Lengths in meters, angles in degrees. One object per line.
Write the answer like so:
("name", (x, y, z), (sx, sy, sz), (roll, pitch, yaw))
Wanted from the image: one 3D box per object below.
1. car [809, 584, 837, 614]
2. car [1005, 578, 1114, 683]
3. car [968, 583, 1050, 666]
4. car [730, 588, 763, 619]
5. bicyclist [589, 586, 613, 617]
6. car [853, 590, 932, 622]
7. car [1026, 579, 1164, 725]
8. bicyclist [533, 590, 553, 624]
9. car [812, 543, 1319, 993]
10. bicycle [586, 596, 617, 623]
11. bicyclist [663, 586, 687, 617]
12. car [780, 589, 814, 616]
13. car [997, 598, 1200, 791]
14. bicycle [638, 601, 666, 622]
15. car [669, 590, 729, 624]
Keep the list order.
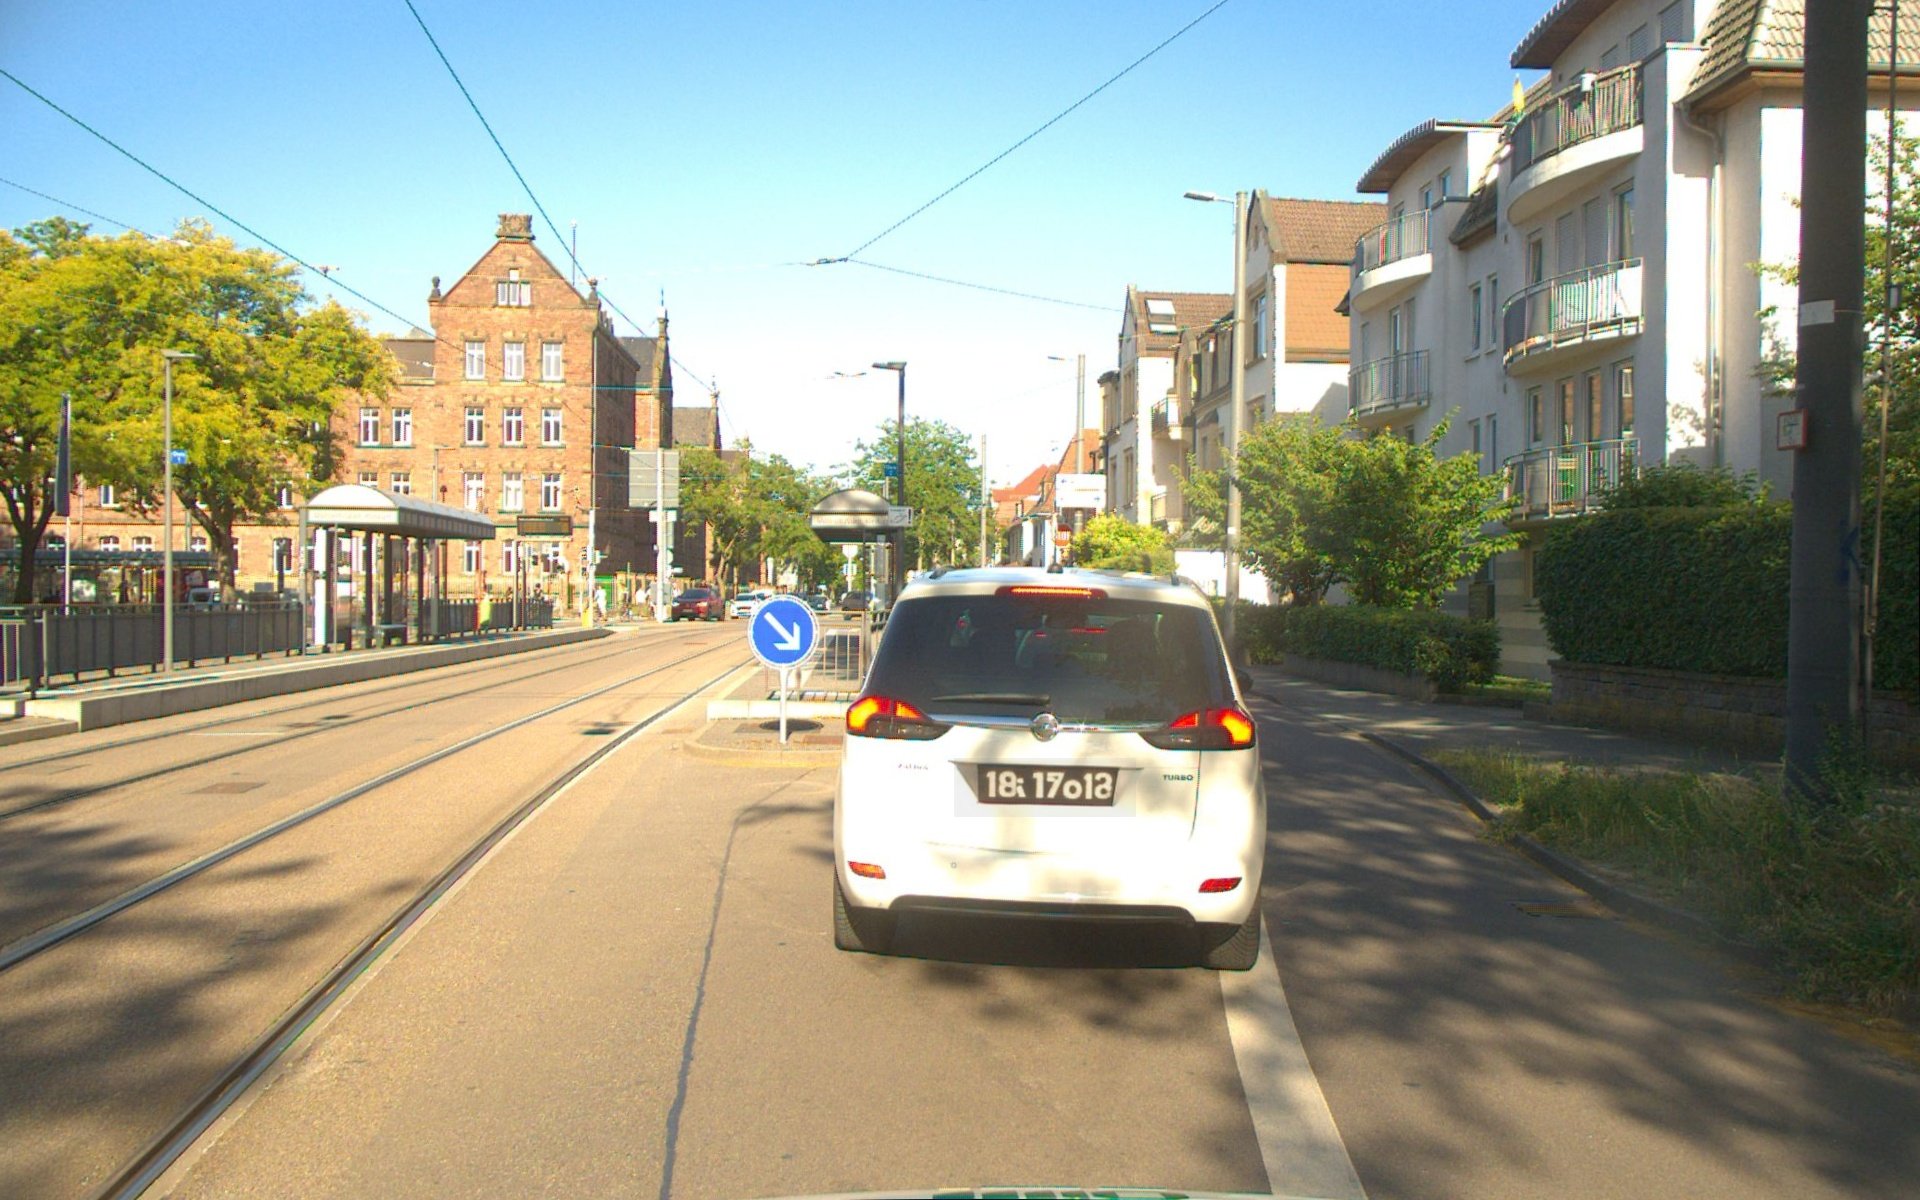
("car", (-9.709, -0.094, 117.118), (1.955, 2.049, 3.996), (0, 0, -5))
("car", (1.690, 0.492, 29.186), (1.563, 1.663, 3.900), (2, 0, -1))
("car", (1.024, 0.499, 36.288), (1.563, 1.663, 3.900), (2, 0, -1))
("car", (-13.246, 0.211, 102.831), (1.664, 1.841, 3.998), (0, 0, -3))
("bicyclist", (-17.404, 0.078, 80.165), (0.740, 1.496, 1.191), (0, -2, 9))
("car", (-3.600, 0.316, 87.834), (3.915, 1.658, 1.668), (0, 0, 32))
("car", (1.719, 0.590, 21.049), (1.536, 1.643, 3.786), (2, 0, 5))
("bicyclist", (-18.386, 0.290, 72.959), (0.640, 1.485, 1.151), (0, 0, -4))
("car", (0.542, 0.600, 8.091), (1.838, 1.613, 4.002), (1, 0, 5))
("bicycle", (-17.379, 0.479, 80.302), (0.798, 1.220, 1.954), (-1, -3, 9))
("bicyclist", (-15.164, 0.082, 87.956), (0.744, 1.563, 1.349), (2, 0, 15))
("car", (-10.080, 0.151, 102.455), (1.954, 1.624, 3.998), (0, 0, -3))
("car", (1.231, 0.732, 14.790), (1.536, 1.426, 3.786), (2, 0, 5))
("bicycle", (-16.392, 0.615, 88.144), (0.655, 1.091, 2.016), (1, 1, 15))
("car", (-12.803, 0.316, 81.382), (1.779, 1.635, 4.362), (0, 0, 7))
